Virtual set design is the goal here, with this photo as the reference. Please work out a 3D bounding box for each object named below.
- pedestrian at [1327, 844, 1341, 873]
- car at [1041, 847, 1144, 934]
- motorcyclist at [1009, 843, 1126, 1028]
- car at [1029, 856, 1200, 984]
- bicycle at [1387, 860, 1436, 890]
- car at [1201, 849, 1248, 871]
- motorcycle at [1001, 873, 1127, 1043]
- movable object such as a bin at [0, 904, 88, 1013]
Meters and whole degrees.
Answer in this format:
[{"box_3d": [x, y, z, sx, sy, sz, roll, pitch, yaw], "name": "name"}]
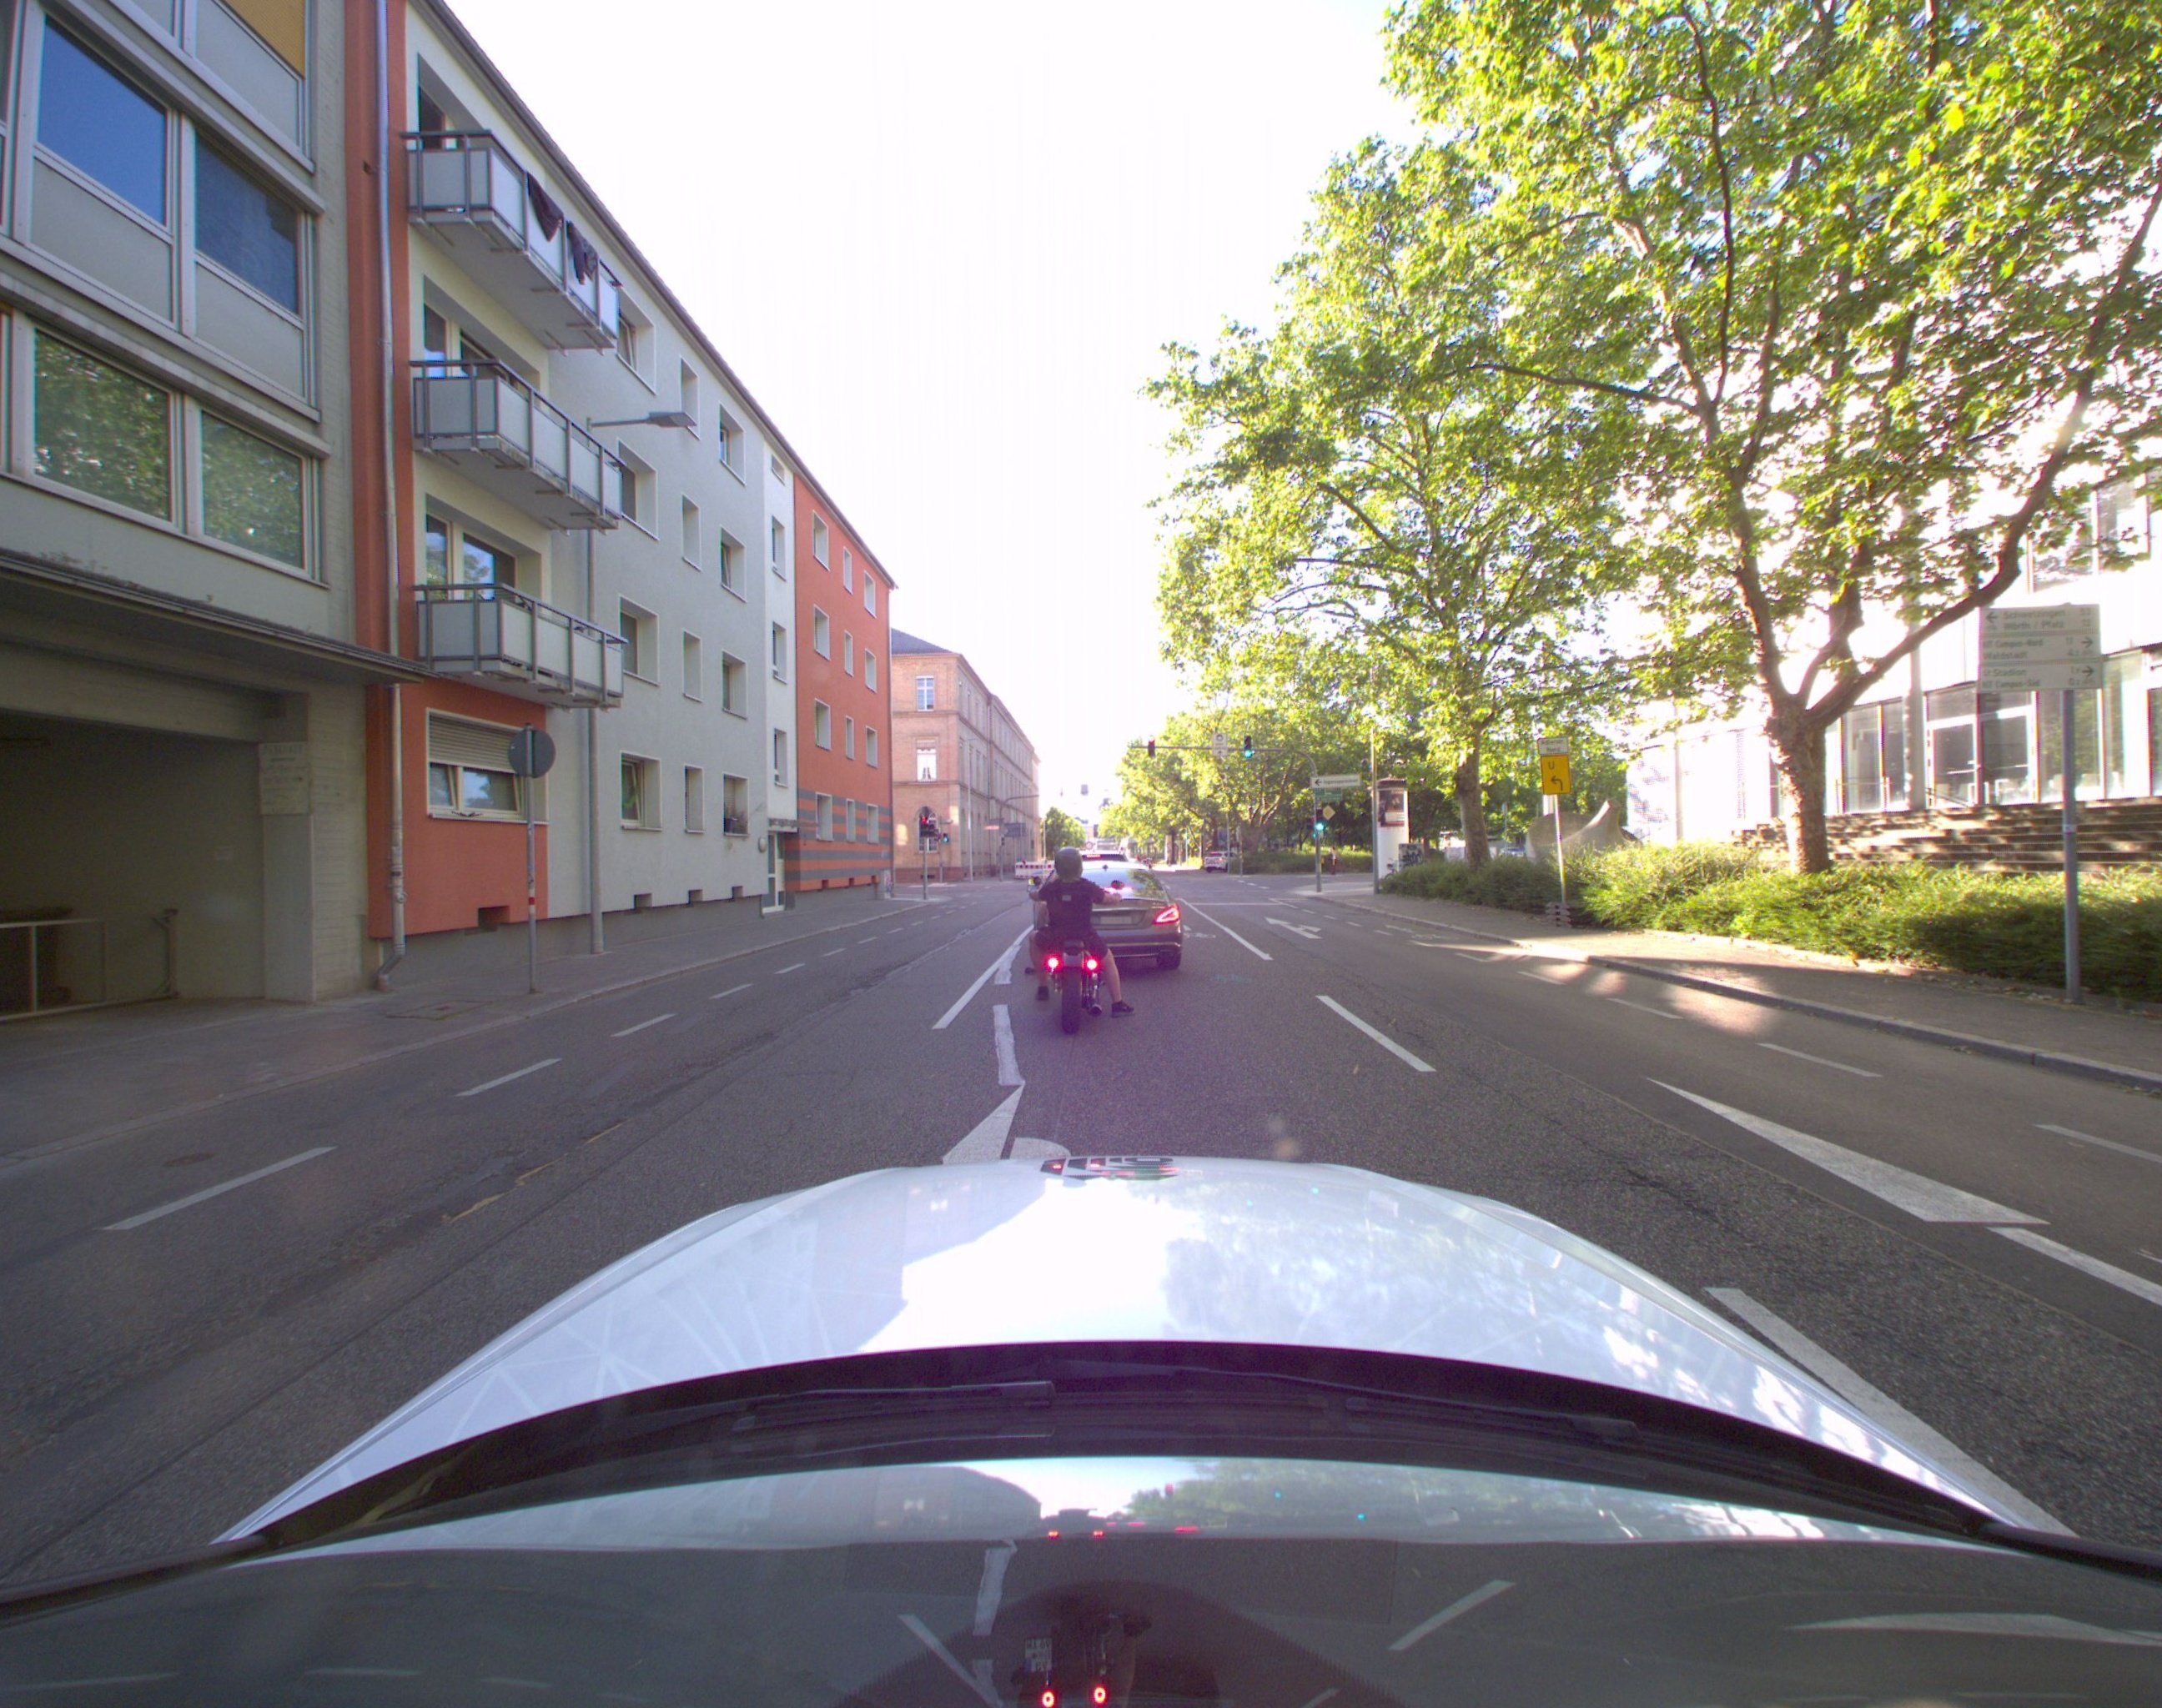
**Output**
[{"box_3d": [15.620, 0.275, 50.323, 0.671, 1.772, 0.621, -1, -1, 31], "name": "pedestrian"}, {"box_3d": [0.285, 0.723, 17.674, 1.986, 1.665, 4.001, 0, -1, 2], "name": "car"}, {"box_3d": [-0.098, 0.706, 7.684, 0.977, 1.578, 1.249, -1, 0, 1], "name": "motorcyclist"}, {"box_3d": [0.260, 0.771, 11.747, 1.867, 1.444, 4.421, -1, 0, -6], "name": "car"}, {"box_3d": [11.075, 0.709, 27.325, 1.475, 0.980, 0.300, 0, -1, 7], "name": "bicycle"}, {"box_3d": [11.780, 0.490, 66.663, 1.924, 1.708, 4.511, 0, 0, 38], "name": "car"}, {"box_3d": [-0.096, 0.856, 7.692, 0.977, 1.275, 2.408, -1, 0, 2], "name": "motorcycle"}, {"box_3d": [-11.293, 1.089, 8.649, 0.639, 1.065, 0.675, -1, 0, 1], "name": "movable object such as a bin"}]
